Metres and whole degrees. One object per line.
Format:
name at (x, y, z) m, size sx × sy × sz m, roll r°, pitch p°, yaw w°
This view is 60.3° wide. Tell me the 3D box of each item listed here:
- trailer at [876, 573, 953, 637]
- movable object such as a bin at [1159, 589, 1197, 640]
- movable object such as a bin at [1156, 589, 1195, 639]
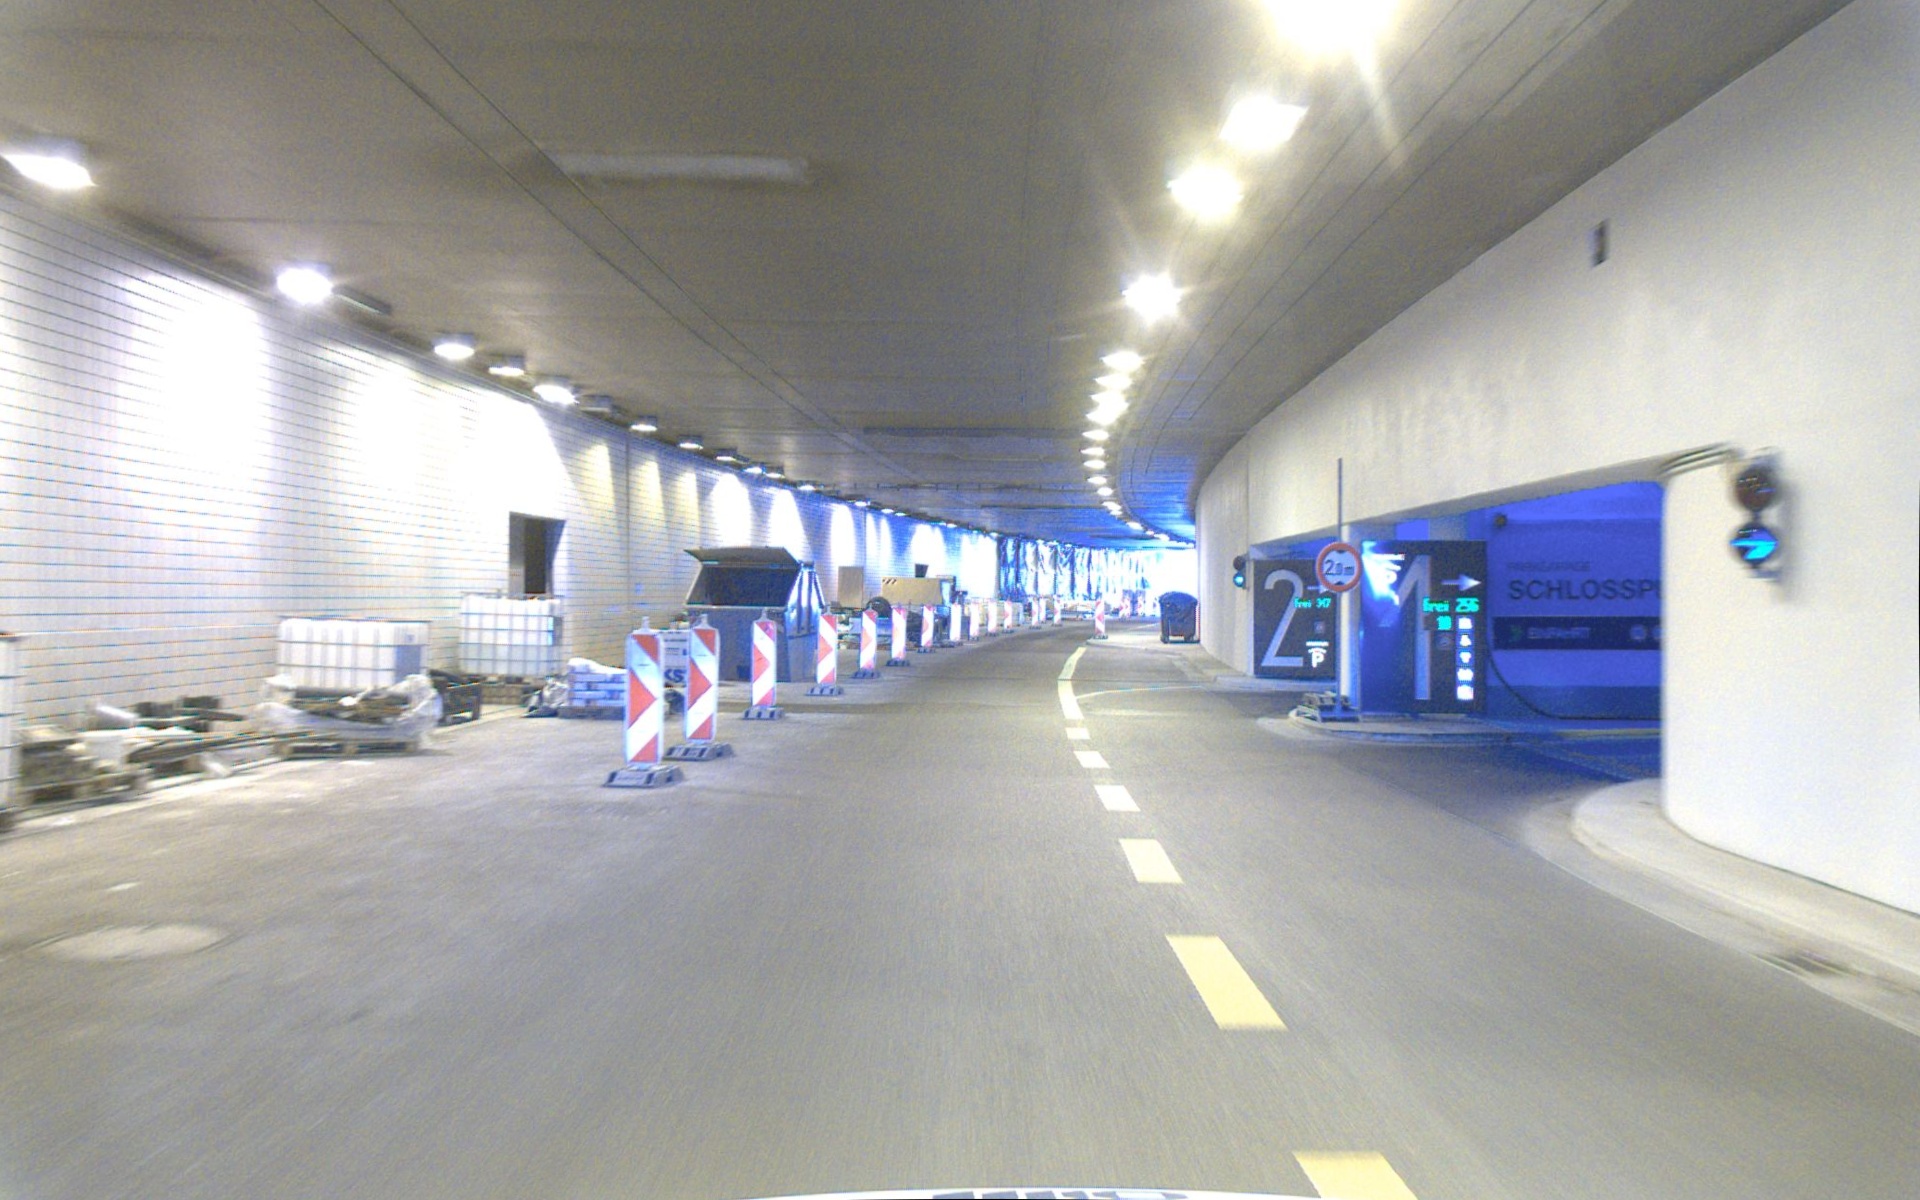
trailer at (-1.482, 0.160, 55.582) m, size 2.161 × 2.049 × 3.468 m, roll 1°, pitch 0°, yaw 5°
movable object such as a bin at (6.380, 0.419, 48.471) m, size 1.074 × 1.470 × 1.323 m, roll 1°, pitch 0°, yaw 6°
movable object such as a bin at (6.493, 0.427, 49.871) m, size 1.121 × 1.470 × 1.365 m, roll 1°, pitch 0°, yaw 6°
